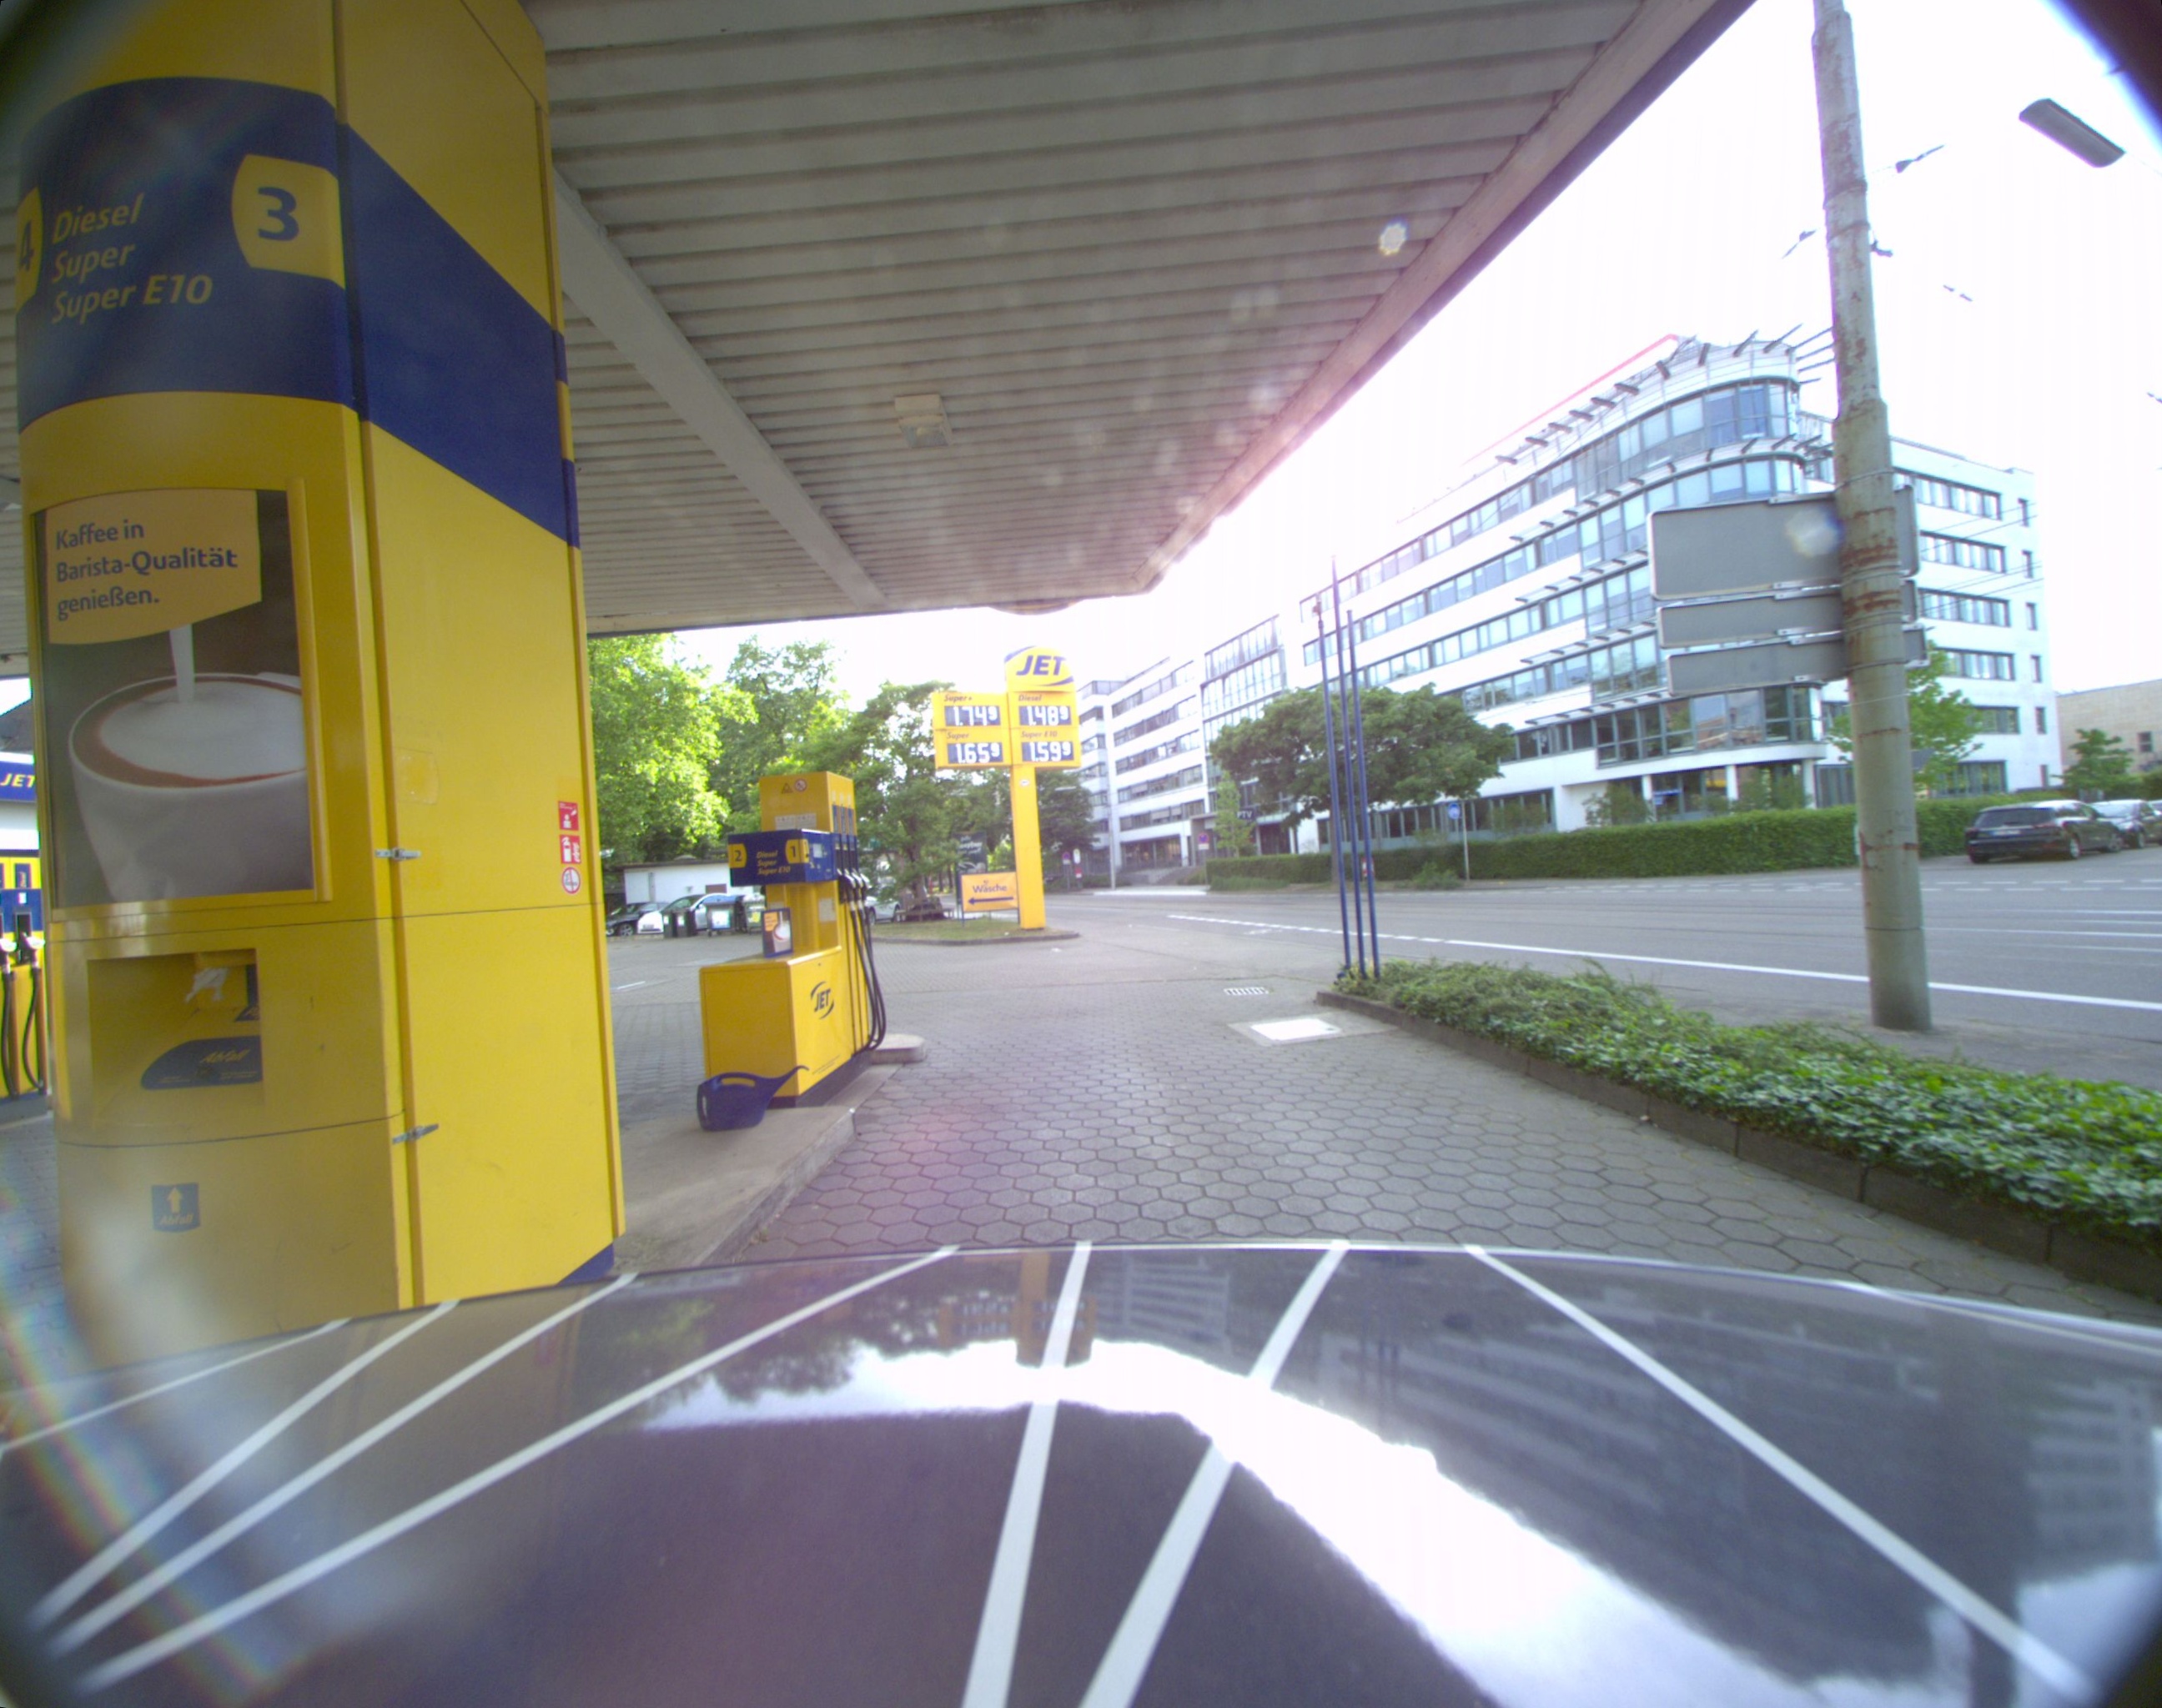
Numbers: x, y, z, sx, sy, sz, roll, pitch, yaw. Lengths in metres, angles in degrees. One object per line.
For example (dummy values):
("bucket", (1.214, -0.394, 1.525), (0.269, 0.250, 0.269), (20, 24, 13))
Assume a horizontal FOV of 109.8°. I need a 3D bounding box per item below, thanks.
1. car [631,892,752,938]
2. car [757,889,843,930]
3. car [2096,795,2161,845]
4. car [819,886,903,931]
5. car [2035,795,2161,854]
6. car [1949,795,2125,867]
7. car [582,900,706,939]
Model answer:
("car", (-15.356, 2.381, 30.248), (1.785, 1.514, 4.229), (-4, -3, 17))
("car", (-11.798, 2.321, 32.236), (1.739, 1.500, 4.004), (-4, -2, 6))
("car", (37.154, -1.237, 26.070), (4.109, 1.544, 1.786), (-4, -1, -23))
("car", (-8.683, 2.114, 30.374), (1.739, 1.500, 4.003), (-4, -2, 6))
("car", (32.494, -0.943, 24.033), (4.109, 1.544, 1.786), (-4, -1, -23))
("car", (27.379, -0.651, 21.762), (4.438, 1.603, 1.976), (-5, -1, -23))
("car", (-17.742, 2.629, 31.064), (1.745, 1.269, 4.230), (-5, -3, 19))
